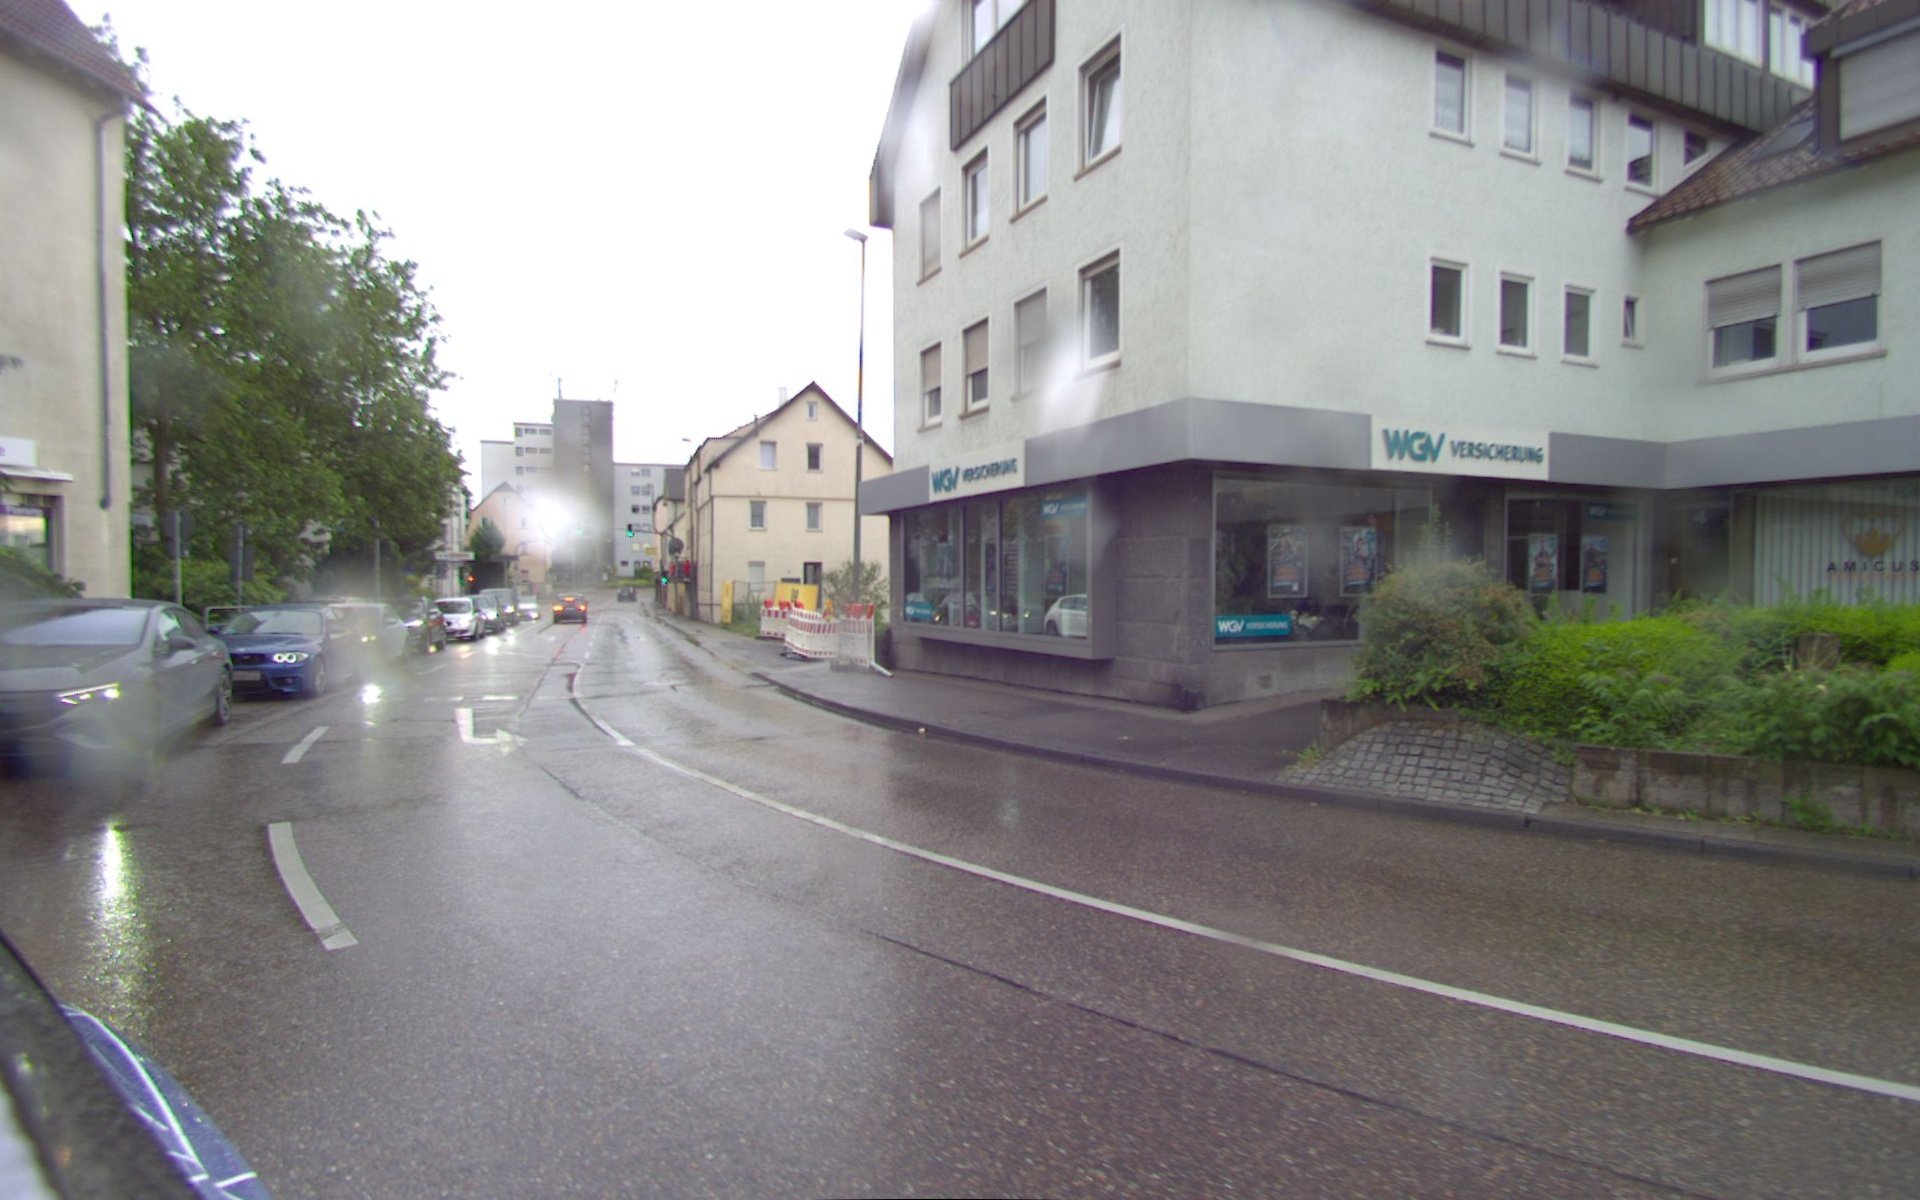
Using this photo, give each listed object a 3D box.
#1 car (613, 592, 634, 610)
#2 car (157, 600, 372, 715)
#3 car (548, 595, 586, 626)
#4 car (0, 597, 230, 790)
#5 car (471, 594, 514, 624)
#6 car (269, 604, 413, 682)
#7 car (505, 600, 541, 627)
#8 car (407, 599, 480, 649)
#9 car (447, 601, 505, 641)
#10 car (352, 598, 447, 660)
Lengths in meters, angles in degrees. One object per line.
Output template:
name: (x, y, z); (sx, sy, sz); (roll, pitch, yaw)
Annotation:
car: (-35.090, 0.093, 105.484); (1.799, 1.724, 3.806); (0, 1, -14)
car: (-10.882, 0.789, 16.204); (1.744, 1.544, 4.392); (-1, 0, -20)
car: (-21.690, 0.616, 56.003); (1.783, 1.577, 4.012); (-2, -1, -19)
car: (-8.687, 0.746, 9.801); (1.965, 1.504, 4.328); (-1, 0, -27)
car: (-24.209, 0.450, 52.479); (1.822, 1.489, 4.013); (-1, 0, -22)
car: (-13.551, 0.865, 22.415); (1.965, 1.464, 4.013); (-2, 1, -21)
car: (-27.340, 0.857, 63.257); (1.965, 1.564, 4.013); (-1, -1, -24)
car: (-18.323, 0.804, 36.072); (1.814, 1.633, 4.013); (-1, 0, -20)
car: (-20.320, 0.851, 42.624); (1.802, 1.563, 4.013); (-2, 0, -20)
car: (-15.894, 0.835, 28.897); (1.783, 1.577, 4.013); (-2, -1, -21)
